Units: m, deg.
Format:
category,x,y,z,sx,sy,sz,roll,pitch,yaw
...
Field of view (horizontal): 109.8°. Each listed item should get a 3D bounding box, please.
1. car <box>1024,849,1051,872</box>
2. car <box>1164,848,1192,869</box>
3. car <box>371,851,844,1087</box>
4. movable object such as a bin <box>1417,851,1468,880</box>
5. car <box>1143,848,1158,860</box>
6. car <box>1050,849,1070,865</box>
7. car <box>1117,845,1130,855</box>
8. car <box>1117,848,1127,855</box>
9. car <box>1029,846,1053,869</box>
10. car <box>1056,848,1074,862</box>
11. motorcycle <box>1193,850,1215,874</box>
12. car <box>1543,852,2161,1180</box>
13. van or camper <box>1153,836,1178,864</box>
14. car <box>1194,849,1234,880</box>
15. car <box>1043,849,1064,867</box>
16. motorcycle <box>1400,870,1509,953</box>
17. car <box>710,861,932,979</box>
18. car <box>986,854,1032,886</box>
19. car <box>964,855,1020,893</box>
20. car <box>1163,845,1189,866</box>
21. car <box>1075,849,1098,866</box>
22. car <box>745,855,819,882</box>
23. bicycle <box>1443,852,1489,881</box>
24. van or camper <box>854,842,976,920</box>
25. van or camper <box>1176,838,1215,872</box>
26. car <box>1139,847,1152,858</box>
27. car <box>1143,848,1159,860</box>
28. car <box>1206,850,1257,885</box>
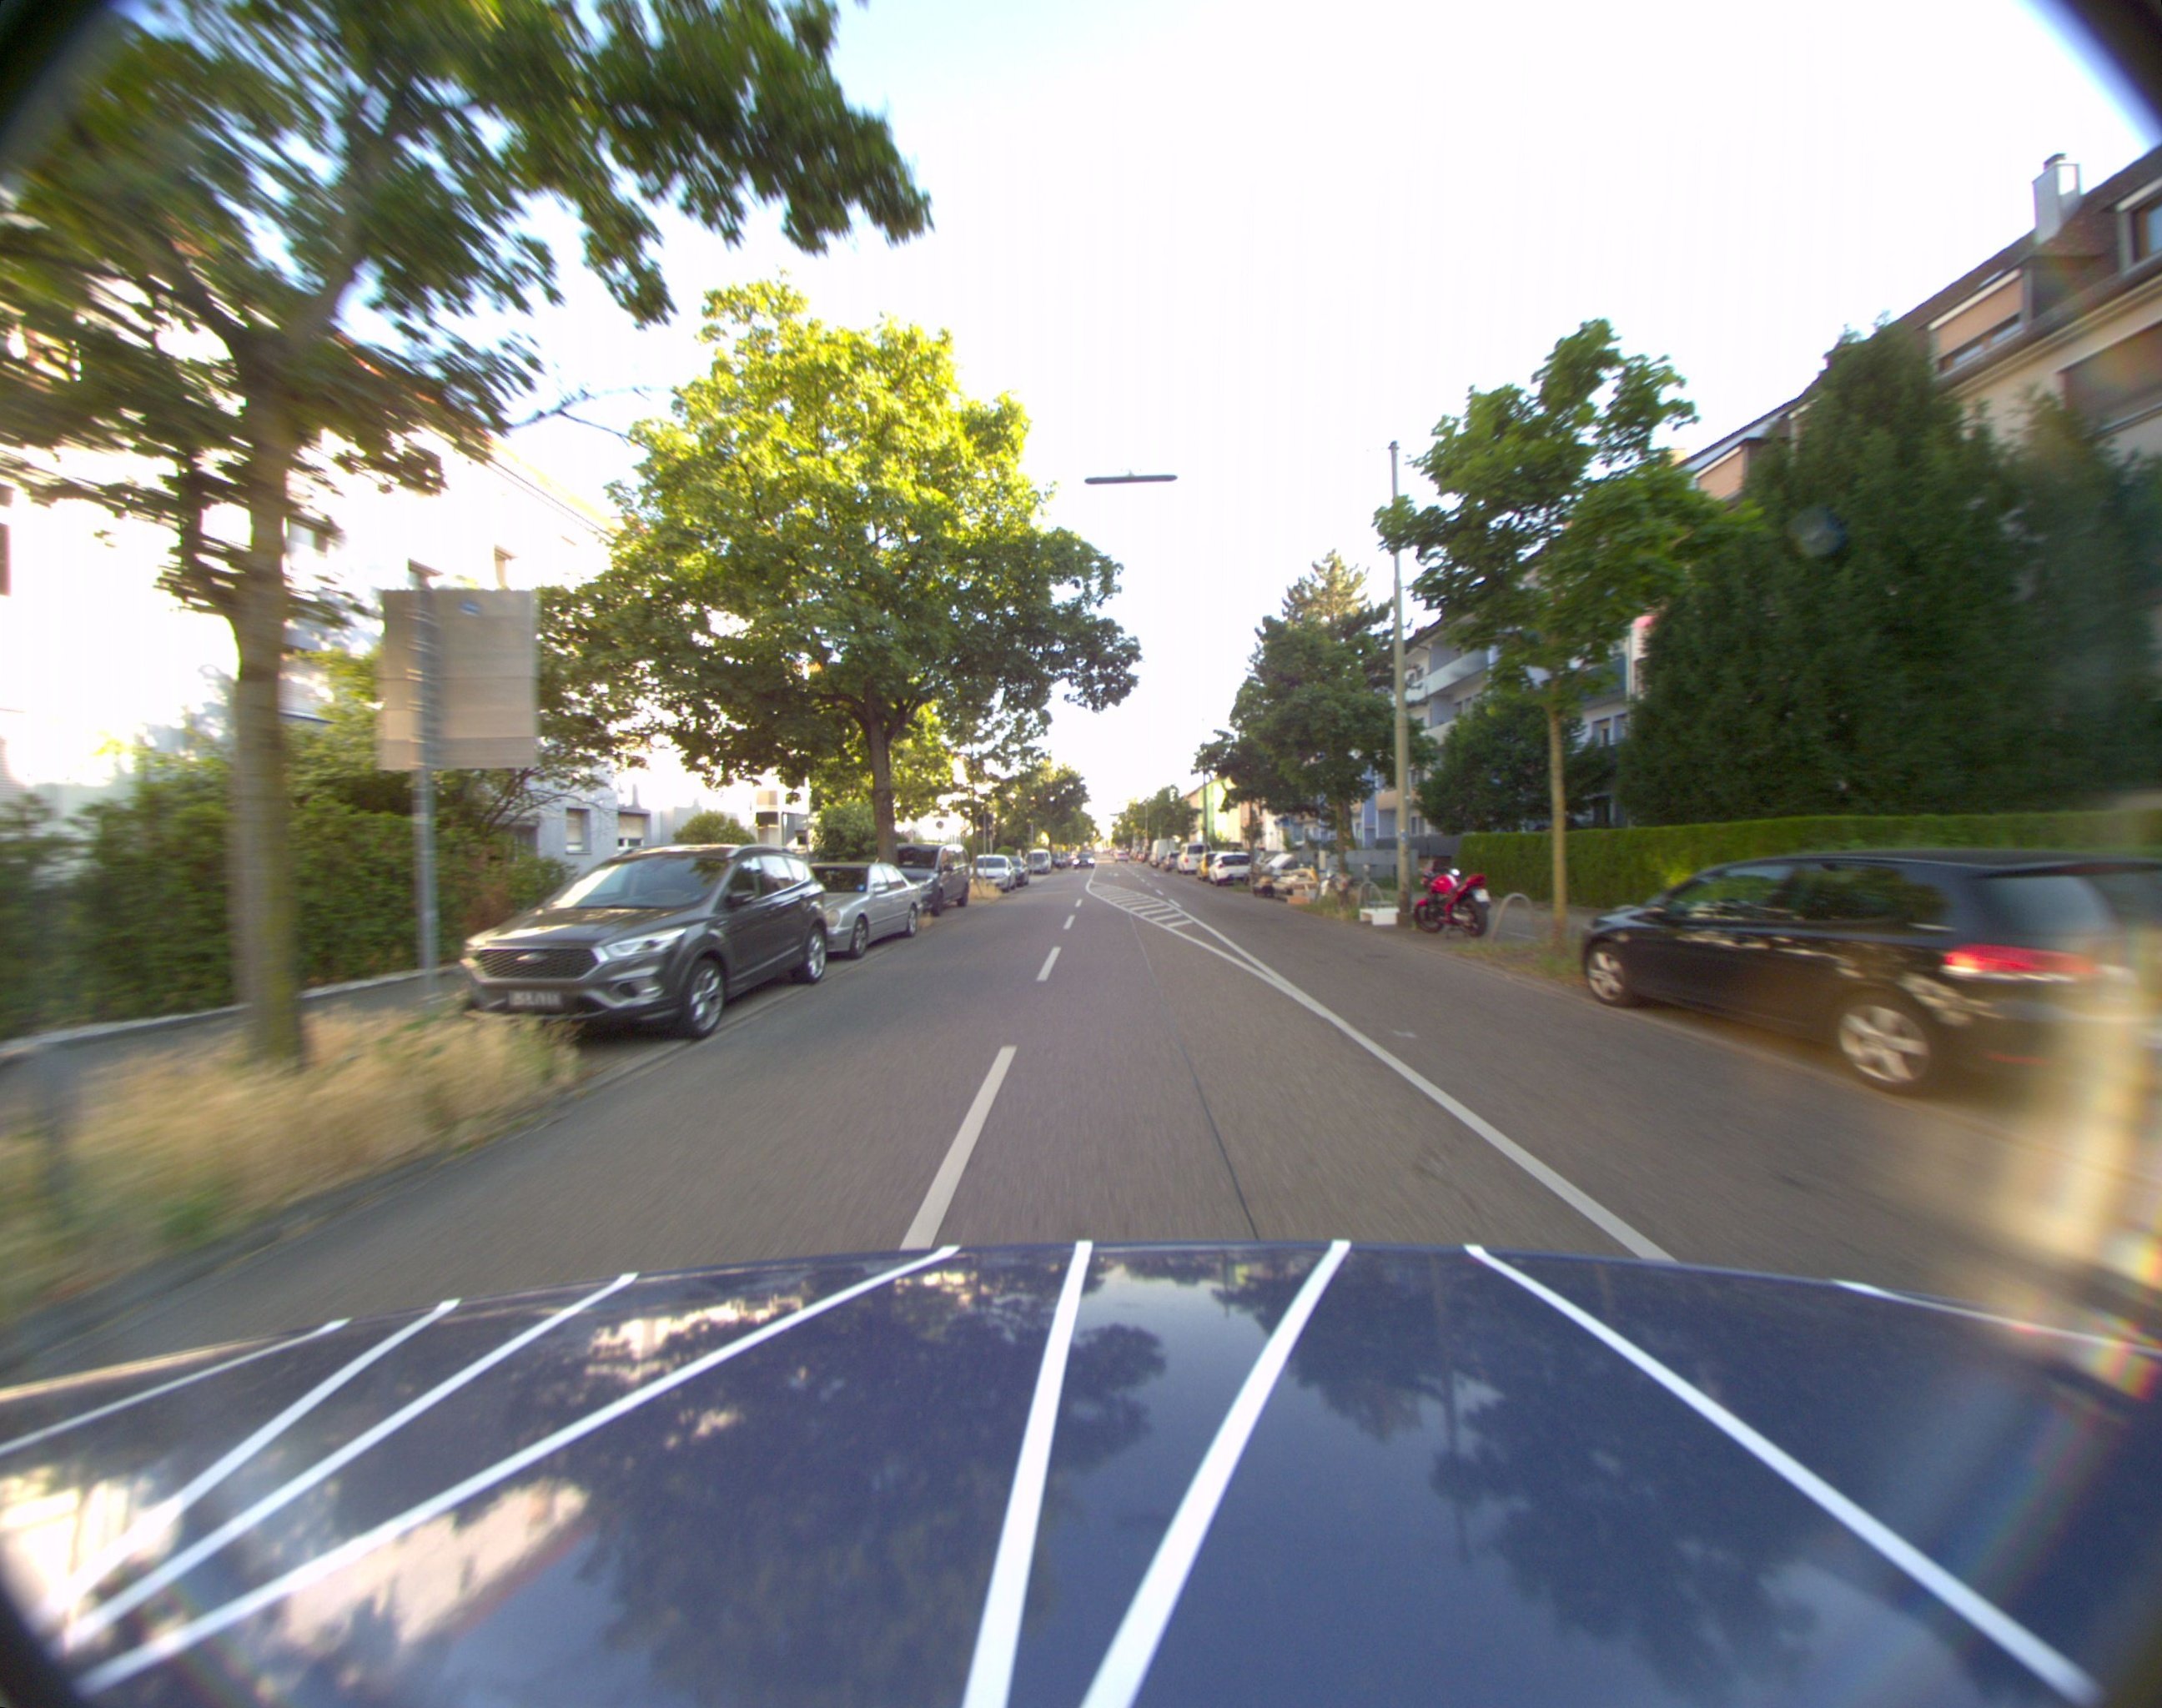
category,x,y,z,sx,sy,sz,roll,pitch,yaw
car,-3.099,0.442,54.708,1.798,1.577,3.999,0,1,-1
car,7.383,0.332,58.216,1.808,1.489,3.957,-2,1,3
car,-4.160,0.828,7.859,1.921,1.672,4.707,0,1,0
movable object such as a bin,13.694,0.420,28.819,1.465,1.043,1.060,-1,1,2
car,9.012,-0.018,98.255,1.762,1.439,3.786,-1,1,6
car,-2.117,0.242,76.173,1.797,1.558,3.672,0,1,2
car,6.034,-0.558,108.085,1.726,1.473,3.956,0,1,1
car,8.238,-0.453,152.615,1.808,1.390,3.957,-1,1,3
car,-3.142,0.267,60.098,1.798,1.761,3.999,0,1,-1
car,-1.773,0.114,85.493,1.797,1.558,3.672,0,1,2
motorcycle,7.247,0.465,44.668,0.792,1.393,2.020,-1,1,23
car,5.739,0.796,5.855,1.842,1.509,4.316,-2,1,3
van or camper,7.950,-0.412,72.097,1.917,2.528,5.334,-1,1,2
car,6.843,0.529,39.261,1.577,1.460,3.491,-2,0,3
car,-2.465,0.337,68.714,1.798,1.558,3.671,0,1,-1
motorcycle,6.016,0.883,12.391,0.640,1.130,2.172,-3,1,-1
car,-4.037,0.929,12.801,1.788,1.495,4.831,-1,1,3
car,-3.381,0.723,36.339,1.738,1.435,4.339,0,0,0
car,-3.567,0.761,31.041,1.738,1.435,4.304,0,0,0
car,7.865,0.097,63.307,1.808,1.582,3.957,-2,1,3
car,0.517,0.337,71.424,1.998,1.525,3.999,-1,1,0
car,-19.401,0.905,49.427,3.999,1.547,1.998,-1,3,-5
bicycle,14.990,0.465,29.645,0.533,1.089,1.746,-1,1,-17
van or camper,-4.333,0.677,20.790,1.998,1.831,5.260,-1,-1,2
van or camper,7.387,0.042,49.499,1.809,2.002,4.864,-2,1,1
car,9.793,-0.202,116.228,1.808,1.588,3.957,-2,1,3
car,8.706,-0.004,94.307,1.762,1.439,3.591,-1,1,6
car,6.711,0.569,34.209,1.684,1.434,3.882,-2,0,3
